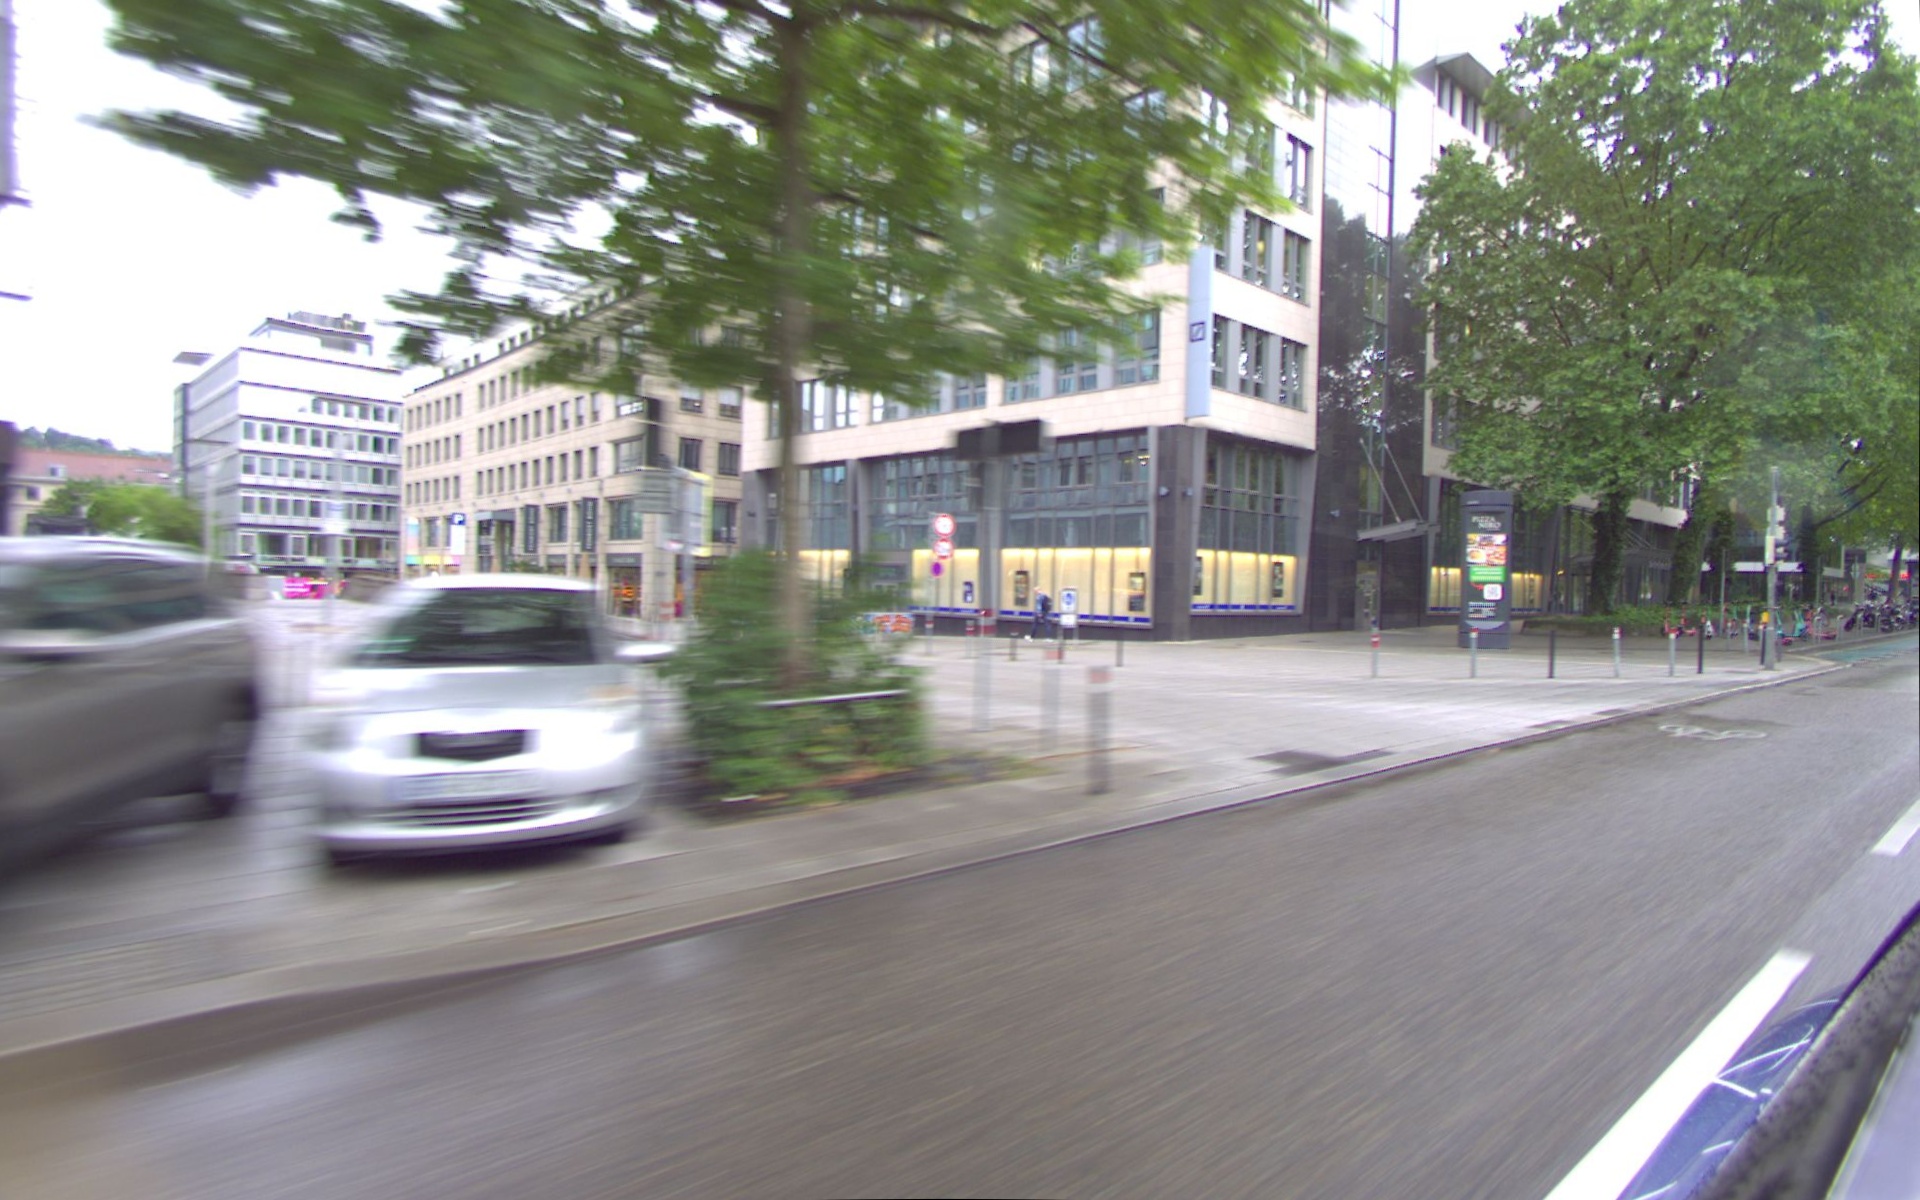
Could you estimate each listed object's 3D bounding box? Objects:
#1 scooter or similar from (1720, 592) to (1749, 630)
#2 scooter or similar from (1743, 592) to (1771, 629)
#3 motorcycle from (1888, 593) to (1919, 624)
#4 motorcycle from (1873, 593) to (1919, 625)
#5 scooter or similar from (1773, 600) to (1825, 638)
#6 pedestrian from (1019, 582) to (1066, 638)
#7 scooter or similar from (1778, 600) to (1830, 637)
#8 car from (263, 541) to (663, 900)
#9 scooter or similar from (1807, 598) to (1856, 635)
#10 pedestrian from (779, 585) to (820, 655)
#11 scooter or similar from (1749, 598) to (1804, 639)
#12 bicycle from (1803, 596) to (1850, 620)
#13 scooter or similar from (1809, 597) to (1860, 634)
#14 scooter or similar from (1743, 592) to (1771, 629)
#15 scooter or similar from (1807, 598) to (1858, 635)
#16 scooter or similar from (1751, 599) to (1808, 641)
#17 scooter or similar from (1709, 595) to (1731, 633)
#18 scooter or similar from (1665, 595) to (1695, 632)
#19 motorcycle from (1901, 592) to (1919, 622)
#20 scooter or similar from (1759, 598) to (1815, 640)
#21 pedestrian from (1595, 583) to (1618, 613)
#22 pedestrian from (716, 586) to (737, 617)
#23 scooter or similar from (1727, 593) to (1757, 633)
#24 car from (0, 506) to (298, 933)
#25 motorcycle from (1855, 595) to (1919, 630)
[{"bbox_3d":[26.829,0.401,35.057,1.270,1.275,0.489,2,1,-40],"label":"scooter or similar"},{"bbox_3d":[27.992,0.376,35.540,1.270,1.275,0.489,2,1,-40],"label":"scooter or similar"},{"bbox_3d":[44.996,0.418,47.484,1.945,1.391,0.721,3,1,30],"label":"motorcycle"},{"bbox_3d":[42.366,0.411,45.378,1.945,1.391,0.721,3,1,30],"label":"motorcycle"},{"bbox_3d":[29.448,0.659,35.511,0.480,1.251,1.293,2,1,-37],"label":"scooter or similar"},{"bbox_3d":[2.813,0.324,34.549,1.271,1.873,0.907,0,0,41],"label":"pedestrian"},{"bbox_3d":[30.006,0.644,35.984,0.480,1.251,1.293,2,1,-37],"label":"scooter or similar"},{"bbox_3d":[-2.899,0.505,6.432,1.679,1.566,3.668,0,0,-21],"label":"car"},{"bbox_3d":[31.838,0.602,36.981,1.288,1.294,0.529,3,1,40],"label":"scooter or similar"},{"bbox_3d":[-4.074,0.483,25.612,0.791,1.718,1.190,0,0,-21],"label":"pedestrian"},{"bbox_3d":[27.192,0.602,33.724,0.479,1.275,1.296,2,1,-28],"label":"scooter or similar"},{"bbox_3d":[38.415,0.351,44.882,1.727,1.041,0.640,0,0,-11],"label":"bicycle"},{"bbox_3d":[32.629,0.579,37.766,0.527,1.294,1.294,2,1,-35],"label":"scooter or similar"},{"bbox_3d":[27.992,0.376,35.540,1.270,1.275,0.489,2,1,-40],"label":"scooter or similar"},{"bbox_3d":[32.305,0.588,37.472,0.527,1.294,1.294,2,1,-35],"label":"scooter or similar"},{"bbox_3d":[26.520,0.627,32.766,0.479,1.275,1.296,2,1,-28],"label":"scooter or similar"},{"bbox_3d":[24.979,0.455,33.257,0.487,1.212,1.275,0,1,41],"label":"scooter or similar"},{"bbox_3d":[24.412,0.447,34.314,0.483,1.212,1.286,0,1,19],"label":"scooter or similar"},{"bbox_3d":[48.270,0.372,50.297,2.043,1.446,0.721,3,1,30],"label":"motorcycle"},{"bbox_3d":[27.027,0.614,33.093,0.479,1.275,1.296,2,1,-28],"label":"scooter or similar"},{"bbox_3d":[37.507,-0.123,58.750,0.813,1.714,0.729,1,1,3],"label":"pedestrian"},{"bbox_3d":[-14.277,0.079,61.850,0.725,1.854,1.070,0,0,42],"label":"pedestrian"},{"bbox_3d":[25.876,0.438,33.483,1.270,1.275,0.489,2,1,-40],"label":"scooter or similar"},{"bbox_3d":[-4.856,0.466,4.593,1.780,1.688,4.279,0,0,-14],"label":"car"},{"bbox_3d":[39.731,0.513,43.351,1.949,1.391,0.720,3,1,35],"label":"motorcycle"}]
